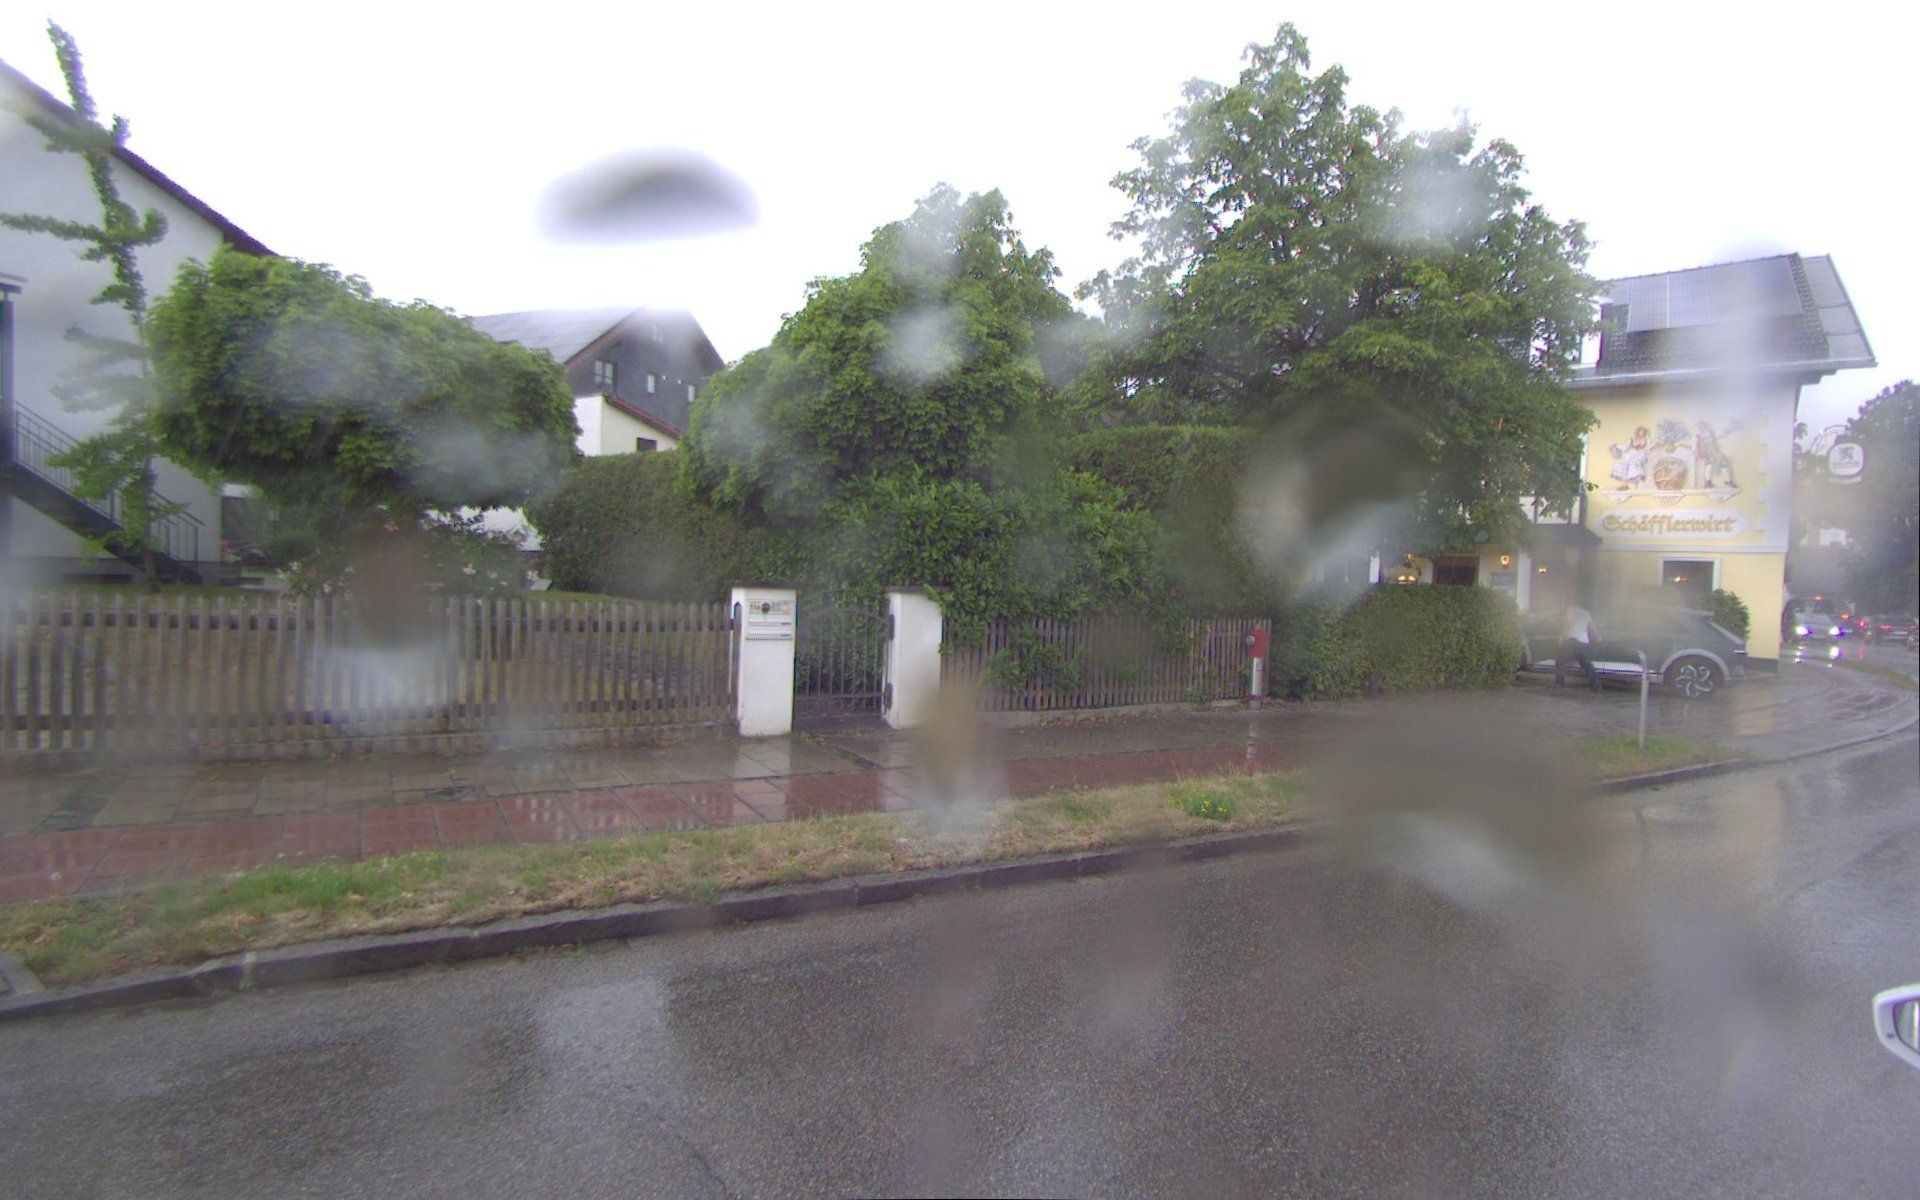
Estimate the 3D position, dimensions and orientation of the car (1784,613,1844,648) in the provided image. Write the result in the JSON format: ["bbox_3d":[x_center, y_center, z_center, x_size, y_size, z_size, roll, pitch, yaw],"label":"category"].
[{"bbox_3d":[45.963,1.604,54.121,1.896,1.767,4.181,0,-1,33],"label":"car"}]

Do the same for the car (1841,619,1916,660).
[{"bbox_3d":[49.405,2.076,54.157,2.139,1.925,4.999,3,2,33],"label":"car"}]

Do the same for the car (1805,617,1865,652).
[{"bbox_3d":[55.545,2.134,63.860,2.139,1.925,4.999,3,2,33],"label":"car"}]

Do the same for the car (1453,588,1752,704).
[{"bbox_3d":[11.872,0.747,18.868,4.413,1.589,1.834,6,5,32],"label":"car"}]

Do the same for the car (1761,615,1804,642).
[{"bbox_3d":[67.567,2.329,82.549,2.139,1.925,4.999,3,2,33],"label":"car"}]

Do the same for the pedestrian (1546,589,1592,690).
[{"bbox_3d":[10.825,0.688,17.866,0.544,1.712,0.491,5,4,29],"label":"pedestrian"}]

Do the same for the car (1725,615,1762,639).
[{"bbox_3d":[56.333,1.943,72.277,1.728,1.700,3.990,0,-1,32],"label":"car"}]

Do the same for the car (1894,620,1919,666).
[{"bbox_3d":[44.483,1.989,45.639,2.139,1.925,4.999,3,2,33],"label":"car"}]
